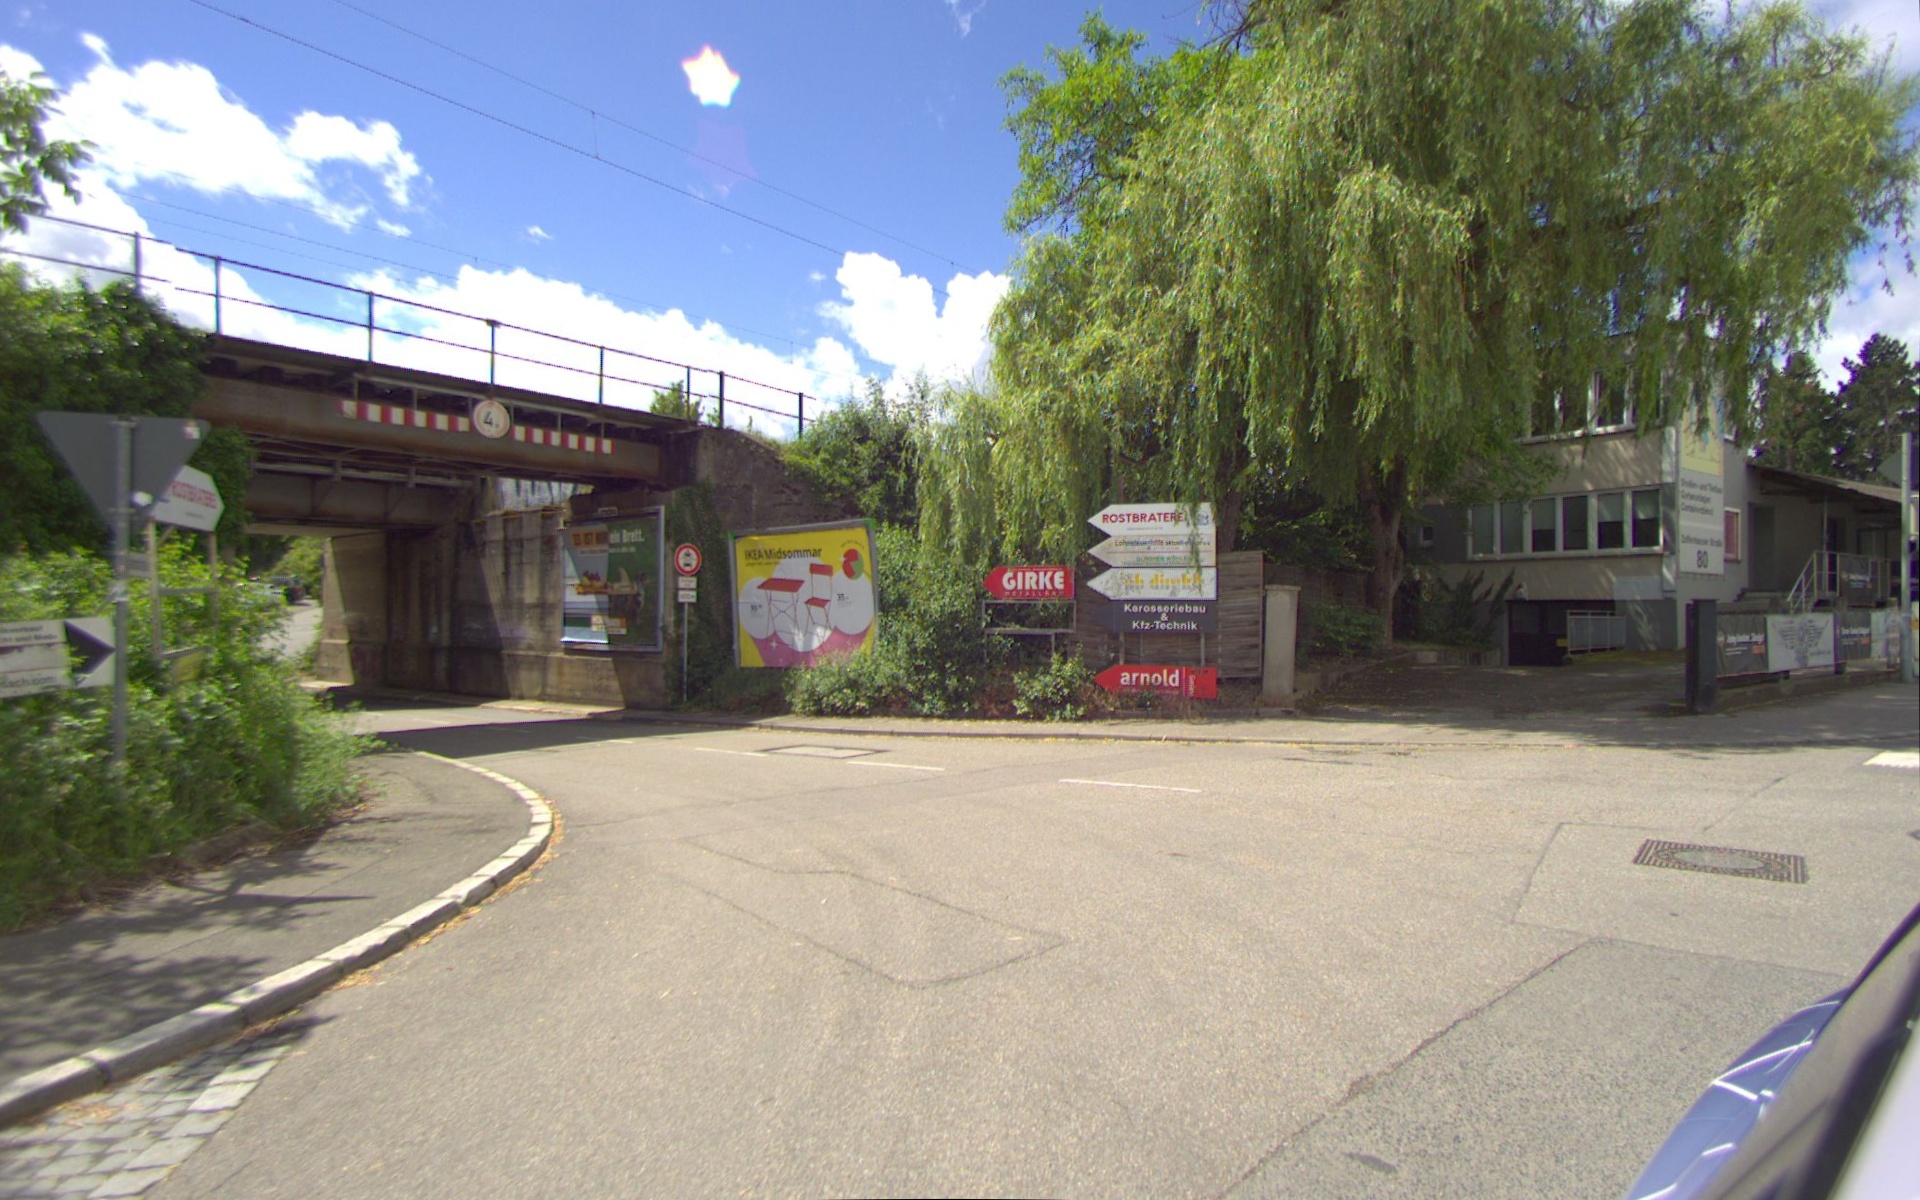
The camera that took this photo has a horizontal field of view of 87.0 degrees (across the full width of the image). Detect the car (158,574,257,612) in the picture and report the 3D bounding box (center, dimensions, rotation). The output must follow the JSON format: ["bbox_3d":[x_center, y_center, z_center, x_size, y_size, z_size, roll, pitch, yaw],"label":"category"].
[{"bbox_3d":[-41.307,-0.390,55.657,3.916,2.039,2.004,0,0,-19],"label":"car"}]

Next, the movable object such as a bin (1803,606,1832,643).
[{"bbox_3d":[22.475,0.642,26.525,0.465,0.942,0.483,0,0,-35],"label":"movable object such as a bin"}]
